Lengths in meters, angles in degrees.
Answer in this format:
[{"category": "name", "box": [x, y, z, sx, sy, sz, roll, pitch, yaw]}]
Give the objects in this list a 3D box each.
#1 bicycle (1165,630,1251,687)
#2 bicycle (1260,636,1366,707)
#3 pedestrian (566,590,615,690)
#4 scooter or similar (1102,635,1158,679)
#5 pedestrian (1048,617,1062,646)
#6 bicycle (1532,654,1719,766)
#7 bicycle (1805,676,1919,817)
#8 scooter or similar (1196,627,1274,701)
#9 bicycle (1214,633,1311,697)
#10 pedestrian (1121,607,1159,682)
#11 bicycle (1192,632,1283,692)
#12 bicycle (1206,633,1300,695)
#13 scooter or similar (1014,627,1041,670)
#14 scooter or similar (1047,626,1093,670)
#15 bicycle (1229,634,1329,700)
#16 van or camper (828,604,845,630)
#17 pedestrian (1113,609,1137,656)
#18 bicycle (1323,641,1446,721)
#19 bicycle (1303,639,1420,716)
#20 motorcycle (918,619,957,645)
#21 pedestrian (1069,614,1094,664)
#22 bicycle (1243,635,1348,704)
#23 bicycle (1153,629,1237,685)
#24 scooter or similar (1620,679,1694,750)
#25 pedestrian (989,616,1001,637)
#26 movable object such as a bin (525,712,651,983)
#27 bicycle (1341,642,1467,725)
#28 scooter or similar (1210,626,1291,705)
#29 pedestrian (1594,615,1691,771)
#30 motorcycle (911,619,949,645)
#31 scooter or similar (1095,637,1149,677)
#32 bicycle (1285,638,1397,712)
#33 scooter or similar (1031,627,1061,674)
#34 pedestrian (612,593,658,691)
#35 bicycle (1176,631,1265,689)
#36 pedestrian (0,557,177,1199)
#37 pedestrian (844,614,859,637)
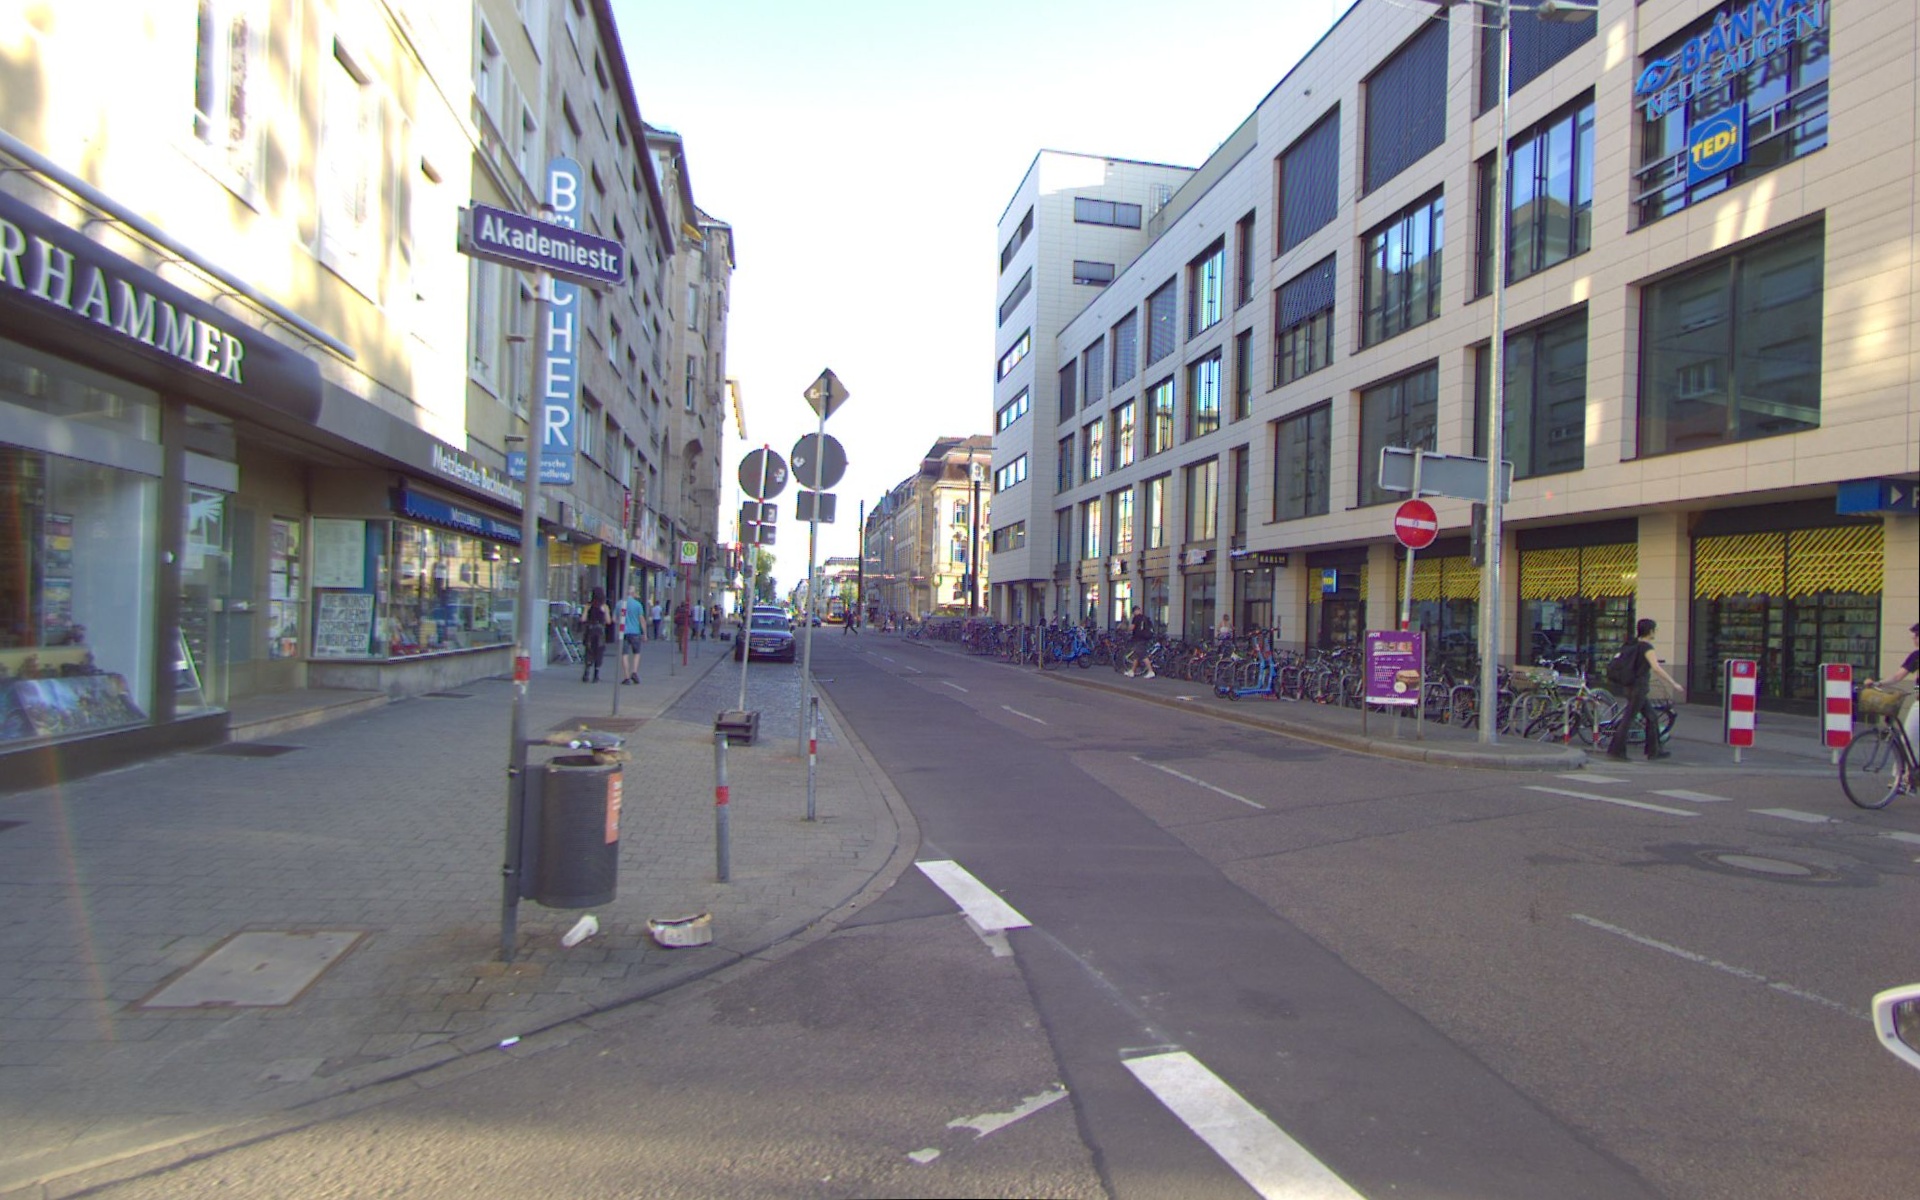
[{"category": "bicycle", "box": [5.918, 1.397, 23.968, 1.945, 1.271, 0.512, 3, 0, -13]}, {"category": "bicycle", "box": [6.800, 1.379, 19.343, 1.946, 1.271, 0.512, 3, 0, -15]}, {"category": "pedestrian", "box": [-6.641, 0.713, 18.097, 0.654, 1.730, 0.801, 2, -1, -11]}, {"category": "scooter or similar", "box": [4.123, 1.385, 24.330, 1.249, 1.005, 0.387, 3, 0, -13]}, {"category": "pedestrian", "box": [5.722, 1.868, 60.518, 0.672, 1.718, 0.643, 2, 0, -12]}, {"category": "bicycle", "box": [8.204, 1.356, 12.383, 2.105, 1.271, 0.664, 3, 0, -15]}, {"category": "bicycle", "box": [8.714, 1.313, 9.125, 1.792, 1.153, 0.664, 3, 0, -15]}, {"category": "scooter or similar", "box": [4.814, 1.123, 17.581, 1.249, 1.228, 0.387, 2, 0, -13]}, {"category": "bicycle", "box": [6.422, 1.386, 21.326, 1.945, 1.271, 0.512, 3, 0, -13]}, {"category": "pedestrian", "box": [4.220, 1.033, 23.577, 0.672, 1.718, 0.643, 2, 0, -8]}, {"category": "bicycle", "box": [6.258, 1.396, 22.668, 1.945, 1.271, 0.512, 3, 0, -13]}, {"category": "bicycle", "box": [6.414, 1.394, 22.004, 1.945, 1.271, 0.512, 3, 0, -13]}, {"category": "scooter or similar", "box": [2.005, 1.439, 29.923, 0.506, 1.196, 1.269, 2, -1, -8]}, {"category": "scooter or similar", "box": [3.259, 1.429, 29.767, 1.249, 1.259, 0.387, 2, 0, -13]}, {"category": "bicycle", "box": [6.583, 1.386, 20.741, 1.945, 1.271, 0.512, 3, 0, -13]}, {"category": "van or camper", "box": [-16.179, 2.229, 132.064, 1.962, 3.317, 5.159, 2, -1, -5]}, {"category": "pedestrian", "box": [6.121, 1.195, 37.276, 0.672, 1.718, 0.643, 2, 0, -12]}, {"category": "bicycle", "box": [7.211, 1.369, 17.064, 1.945, 1.271, 0.512, 3, 0, -13]}, {"category": "bicycle", "box": [7.097, 1.373, 17.772, 1.945, 1.271, 0.512, 3, 0, -13]}, {"category": "motorcycle", "box": [-1.157, 1.685, 52.851, 1.949, 1.271, 0.511, 3, 0, -20]}, {"category": "pedestrian", "box": [4.295, 1.379, 35.604, 0.672, 1.718, 0.643, 2, 0, -12]}, {"category": "bicycle", "box": [6.665, 1.380, 19.958, 1.945, 1.271, 0.512, 3, 0, -13]}, {"category": "bicycle", "box": [5.753, 1.397, 24.576, 1.945, 1.271, 0.512, 3, 0, -13]}, {"category": "scooter or similar", "box": [9.352, 1.534, 13.488, 0.757, 0.896, 0.387, 2, 0, -13]}, {"category": "pedestrian", "box": [2.394, 1.840, 69.562, 0.672, 1.444, 0.643, 2, 0, -12]}, {"category": "movable object such as a bin", "box": [-1.641, 1.058, 4.438, 0.354, 1.077, 0.355, 1, -1, 38]}, {"category": "bicycle", "box": [7.294, 1.366, 16.498, 1.945, 1.271, 0.512, 3, 0, -13]}, {"category": "scooter or similar", "box": [4.914, 1.107, 17.005, 1.249, 1.277, 0.387, 2, 0, -13]}, {"category": "pedestrian", "box": [7.810, 1.030, 11.509, 0.858, 1.680, 0.617, 2, 0, 35]}, {"category": "motorcycle", "box": [-1.600, 1.726, 54.159, 1.949, 1.271, 0.511, 3, 0, -20]}, {"category": "scooter or similar", "box": [4.039, 1.419, 25.004, 1.249, 0.954, 0.387, 3, 0, -13]}, {"category": "bicycle", "box": [7.026, 1.379, 18.537, 1.945, 1.271, 0.512, 3, 0, -13]}, {"category": "scooter or similar", "box": [2.385, 1.391, 27.940, 0.506, 1.259, 1.269, 2, 0, -8]}, {"category": "pedestrian", "box": [-5.906, 0.755, 18.273, 0.654, 1.730, 0.801, 2, -1, -11]}, {"category": "bicycle", "box": [6.056, 1.395, 23.384, 1.945, 1.271, 0.512, 3, 0, -13]}, {"category": "pedestrian", "box": [-2.009, 0.733, 1.689, 0.789, 1.634, 0.735, 2, -1, 19]}, {"category": "pedestrian", "box": [-7.022, 1.647, 65.156, 0.907, 1.447, 0.401, 2, -1, -16]}]
